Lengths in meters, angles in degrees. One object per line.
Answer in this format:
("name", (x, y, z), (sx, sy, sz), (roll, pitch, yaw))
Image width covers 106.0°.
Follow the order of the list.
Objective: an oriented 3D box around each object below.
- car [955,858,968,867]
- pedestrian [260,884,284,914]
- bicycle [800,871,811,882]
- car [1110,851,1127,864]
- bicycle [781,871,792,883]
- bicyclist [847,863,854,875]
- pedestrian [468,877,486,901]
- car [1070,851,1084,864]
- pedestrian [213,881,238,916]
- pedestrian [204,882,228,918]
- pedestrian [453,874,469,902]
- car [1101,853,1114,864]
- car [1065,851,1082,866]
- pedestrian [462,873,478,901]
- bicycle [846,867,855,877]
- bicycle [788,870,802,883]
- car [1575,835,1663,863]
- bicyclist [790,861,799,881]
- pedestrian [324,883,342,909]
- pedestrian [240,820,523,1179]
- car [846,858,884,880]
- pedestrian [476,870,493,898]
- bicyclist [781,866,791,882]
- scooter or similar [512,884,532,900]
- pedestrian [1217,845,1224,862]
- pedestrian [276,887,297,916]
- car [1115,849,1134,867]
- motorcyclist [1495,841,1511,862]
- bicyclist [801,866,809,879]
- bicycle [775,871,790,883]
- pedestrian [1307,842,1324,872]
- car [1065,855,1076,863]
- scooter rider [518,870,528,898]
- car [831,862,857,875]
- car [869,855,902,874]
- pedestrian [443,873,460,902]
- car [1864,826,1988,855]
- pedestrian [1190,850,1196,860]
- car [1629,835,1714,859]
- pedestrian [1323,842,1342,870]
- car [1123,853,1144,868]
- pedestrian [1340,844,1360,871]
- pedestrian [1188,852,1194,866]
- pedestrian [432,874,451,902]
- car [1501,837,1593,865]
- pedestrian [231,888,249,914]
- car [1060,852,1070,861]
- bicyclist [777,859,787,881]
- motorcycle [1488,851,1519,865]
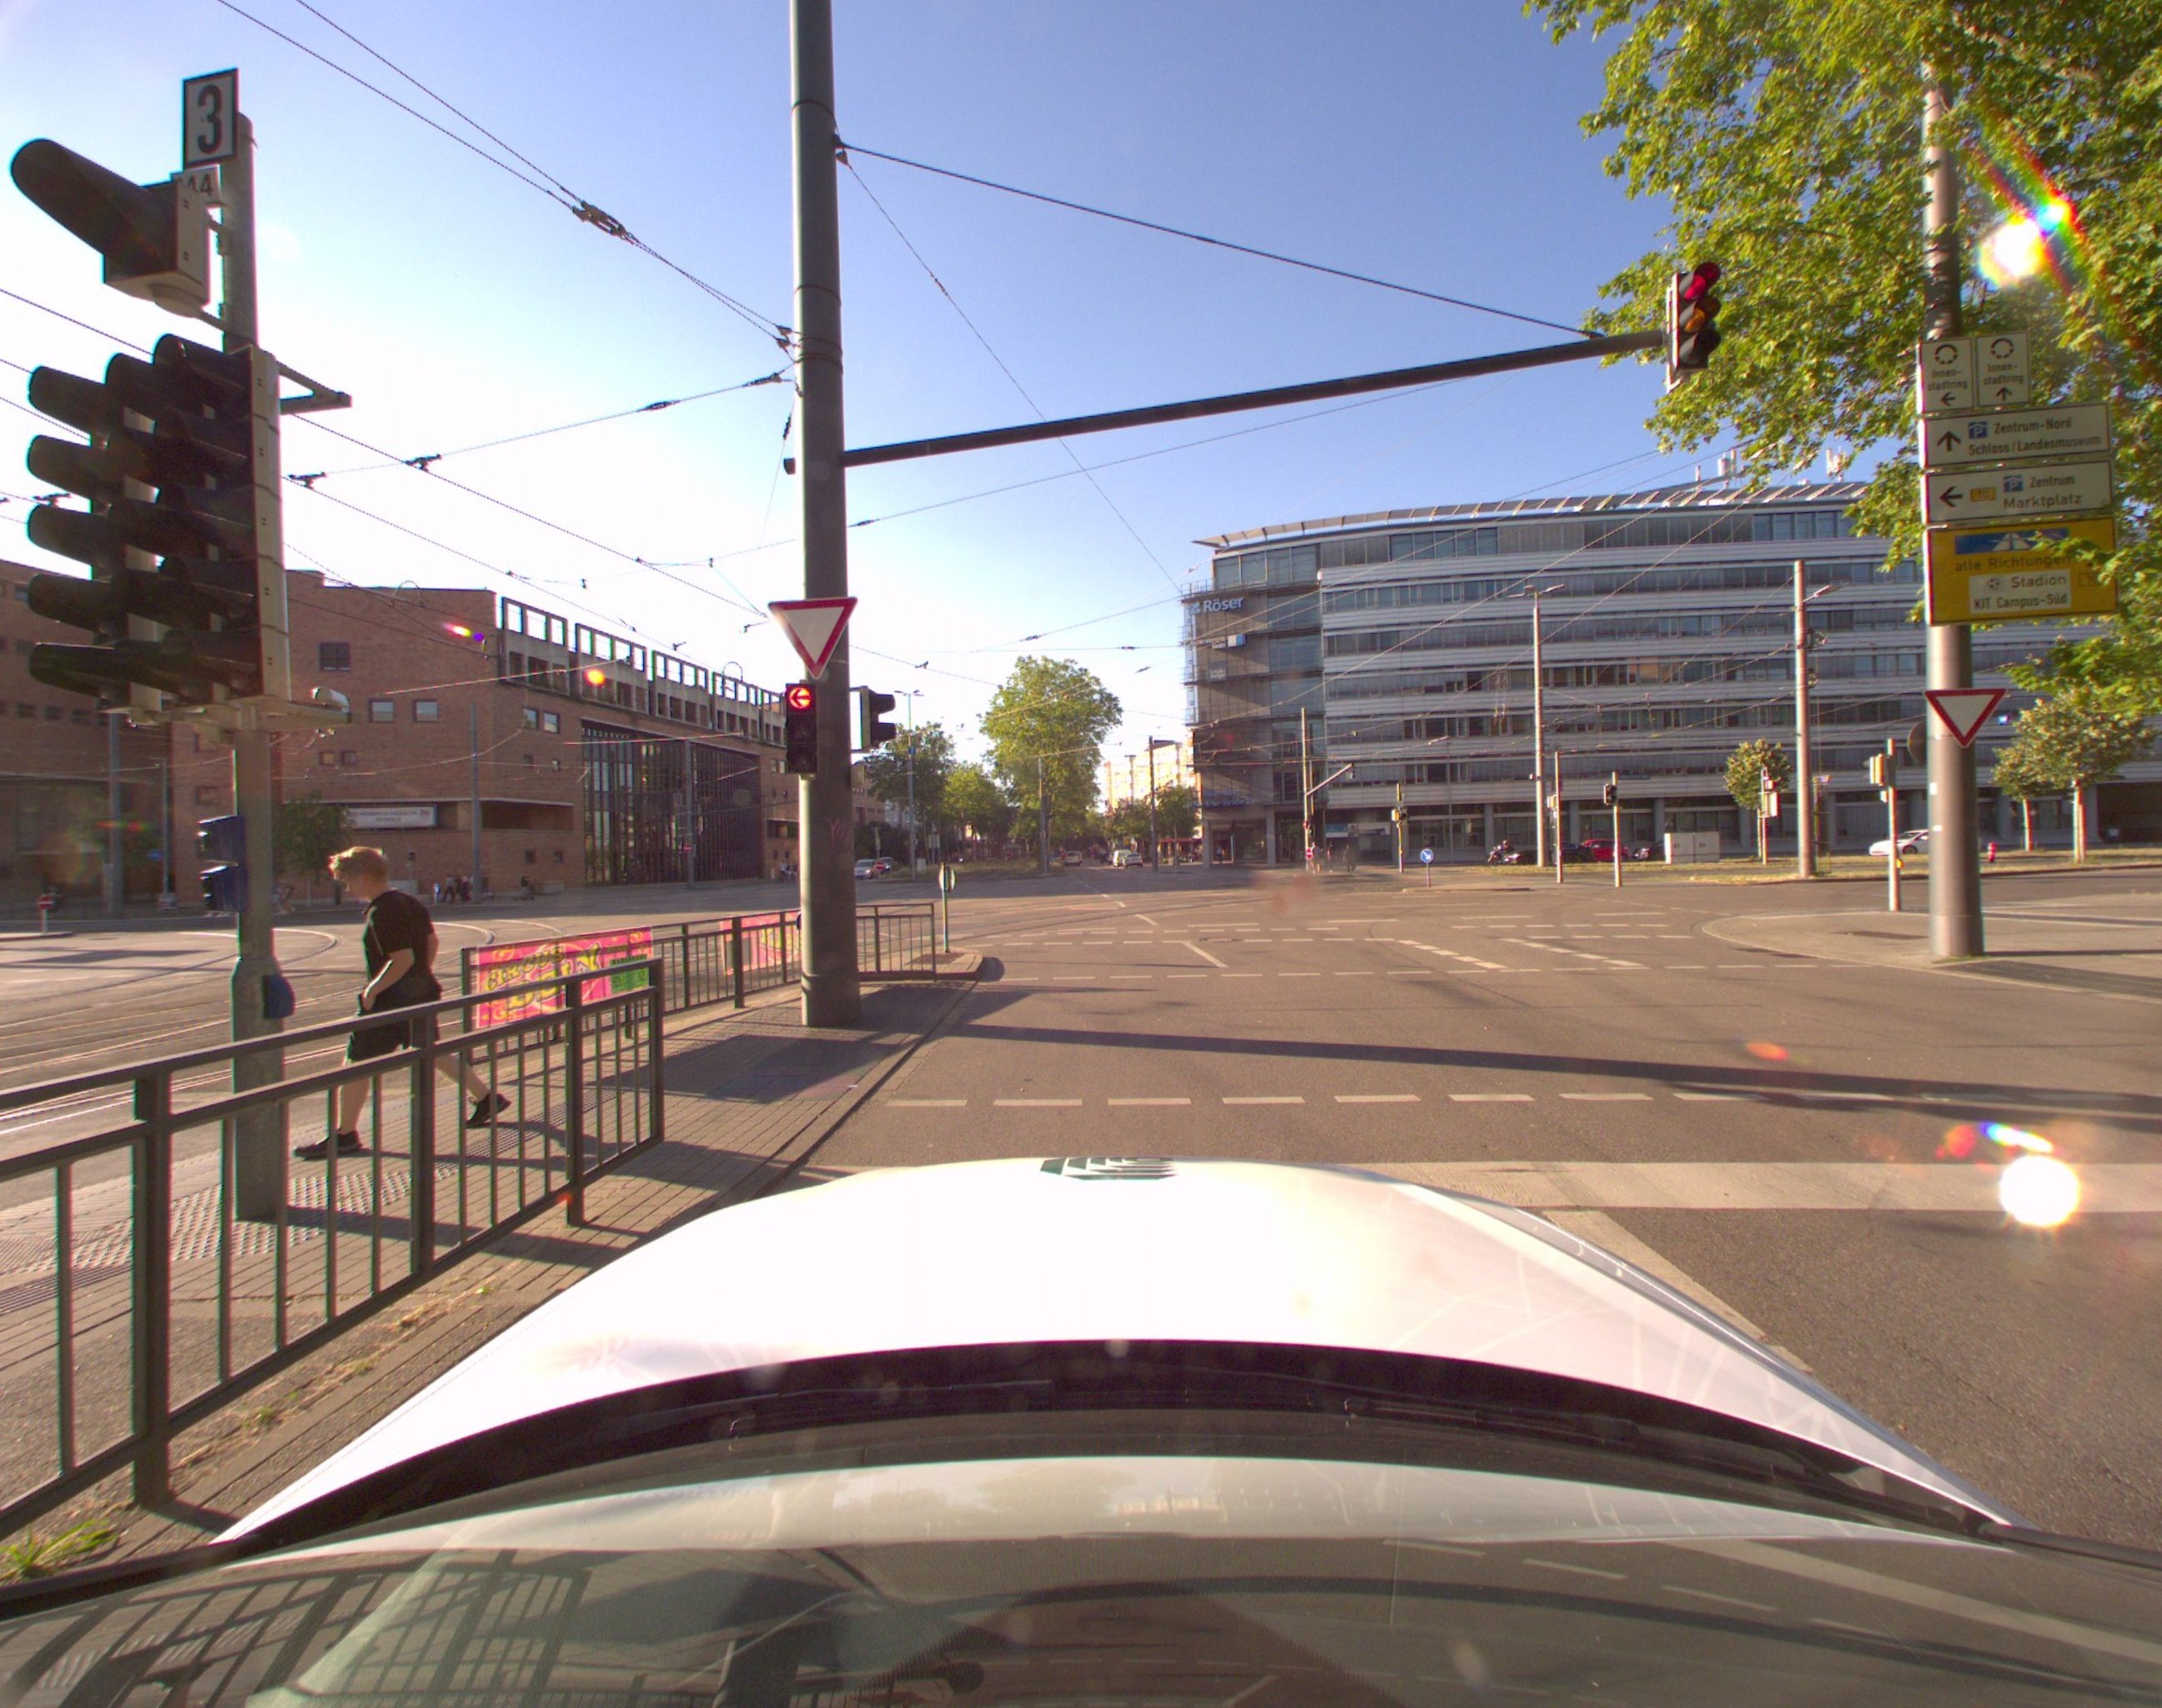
("car", (-25.915, 1.784, 176.420), (1.986, 1.816, 4.002), (-2, 0, 2))
("pedestrian", (-40.495, 2.270, 40.751), (0.564, 1.453, 0.617), (-2, 0, 14))
("bicycle", (-24.410, 2.007, 72.217), (0.449, 0.963, 1.348), (-2, 0, 2))
("car", (4.822, 0.475, 105.295), (1.986, 1.618, 4.002), (-2, 0, 2))
("bicycle", (-25.065, 1.924, 69.324), (0.466, 0.963, 1.320), (-2, 0, 2))
("bicyclist", (-24.461, 1.589, 86.410), (0.503, 1.210, 0.581), (-2, 0, 1))
("pedestrian", (-37.035, 2.147, 49.943), (0.597, 1.421, 0.641), (-2, 0, -6))
("car", (-0.547, 0.515, 126.303), (1.986, 1.912, 4.002), (-2, 0, 2))
("pedestrian", (-40.897, 2.129, 38.934), (0.591, 1.614, 0.592), (-2, 0, 21))
("pedestrian", (-40.447, 2.131, 38.084), (0.594, 1.648, 0.552), (-2, 0, 22))
("pedestrian", (-37.986, 2.057, 49.912), (0.547, 1.683, 0.572), (-2, 0, -7))
("car", (4.094, 0.653, 126.777), (1.986, 1.618, 4.002), (-2, 0, 2))
("car", (-0.916, 0.527, 105.654), (1.953, 1.848, 5.333), (-2, 0, 2))
("pedestrian", (-38.315, 2.071, 51.062), (0.592, 1.683, 0.501), (-2, 0, -7))
("bicycle", (-24.478, 1.911, 86.558), (0.490, 0.963, 1.487), (-2, 0, 2))
("bicycle", (-23.339, 1.816, 66.464), (0.471, 0.963, 1.576), (-2, 0, 2))
("car", (31.985, -0.269, 48.521), (3.966, 1.393, 1.789), (-4, 0, 7))
("bicyclist", (-23.346, 1.355, 66.393), (0.456, 1.603, 0.581), (-2, 0, 1))
("pedestrian", (-44.083, 2.484, 47.972), (0.545, 1.506, 0.492), (-2, 0, 5))
("pedestrian", (-3.858, 0.706, 4.610), (1.097, 1.748, 0.735), (-2, 0, -36))
("car", (-18.004, 1.216, 67.952), (1.987, 1.640, 4.001), (-2, 0, 1))
("pedestrian", (-37.106, 1.851, 50.658), (0.572, 1.683, 0.546), (-2, 0, -7))
("bicyclist", (-25.105, 1.728, 69.316), (0.503, 1.304, 0.581), (-2, 0, 1))
("scooter or similar", (-33.727, 2.276, 49.150), (0.956, 0.899, 0.173), (-2, 0, -45))
("pedestrian", (12.675, -0.029, 73.994), (0.608, 1.507, 0.581), (-2, 0, 12))
("pedestrian", (-38.986, 2.331, 39.966), (0.597, 1.339, 0.685), (-2, 0, 43))
("car", (4.745, 0.447, 89.639), (1.986, 1.860, 4.002), (-2, 0, 2))
("motorcyclist", (25.407, -0.145, 49.022), (0.708, 1.275, 0.460), (-2, 0, 5))
("bicyclist", (-24.441, 1.628, 72.130), (0.503, 1.179, 0.581), (-2, 0, 1))
("bicycle", (-24.308, 1.861, 66.329), (0.540, 0.963, 1.587), (-2, 0, 2))
("pedestrian", (14.042, 0.181, 48.777), (0.859, 1.788, 0.873), (-2, 0, 8))
("car", (-1.871, 0.920, 147.600), (1.792, 1.442, 3.999), (0, -1, 0))
("scooter rider", (-33.722, 1.804, 49.200), (0.441, 1.647, 0.226), (-2, 0, -44))
("car", (-27.697, 1.697, 95.255), (1.661, 1.436, 4.001), (-2, 0, 1))
("car", (-18.115, 0.960, 75.527), (1.987, 1.640, 4.001), (-2, 0, 1))
("pedestrian", (-37.354, 1.999, 48.336), (0.549, 1.683, 0.590), (-2, 0, -8))
("car", (45.923, -0.726, 44.322), (4.580, 1.336, 1.789), (-2, 0, 7))
("pedestrian", (14.628, 0.134, 106.454), (0.575, 1.289, 0.910), (-2, 0, 2))
("car", (38.696, -0.437, 53.465), (4.136, 1.398, 1.789), (-2, 0, 7))
("pedestrian", (15.365, 0.115, 49.729), (0.907, 1.685, 1.038), (-2, 0, 9))
("car", (5.291, 0.618, 82.822), (1.986, 1.376, 4.002), (-2, 0, 2))
("pedestrian", (16.247, 0.226, 49.170), (0.943, 1.564, 0.899), (-2, 0, 8))
("pedestrian", (14.159, 0.625, 104.767), (0.741, 1.714, 0.612), (-2, 0, 1))
("pedestrian", (-38.617, 2.048, 49.207), (0.619, 1.683, 0.649), (-2, 0, -7))
("car", (26.399, -0.174, 46.197), (4.136, 1.398, 1.789), (-2, 0, 7))
("pedestrian", (-47.902, 2.659, 46.390), (0.549, 1.427, 0.563), (-2, 0, 32))
("car", (-3.825, 0.571, 193.898), (1.986, 2.013, 4.001), (-2, 0, 1))
("bicyclist", (-24.327, 1.323, 66.255), (0.534, 1.731, 0.581), (-2, 0, 1))
("motorcycle", (25.429, 0.240, 49.039), (1.560, 0.810, 0.468), (-2, 0, 6))
